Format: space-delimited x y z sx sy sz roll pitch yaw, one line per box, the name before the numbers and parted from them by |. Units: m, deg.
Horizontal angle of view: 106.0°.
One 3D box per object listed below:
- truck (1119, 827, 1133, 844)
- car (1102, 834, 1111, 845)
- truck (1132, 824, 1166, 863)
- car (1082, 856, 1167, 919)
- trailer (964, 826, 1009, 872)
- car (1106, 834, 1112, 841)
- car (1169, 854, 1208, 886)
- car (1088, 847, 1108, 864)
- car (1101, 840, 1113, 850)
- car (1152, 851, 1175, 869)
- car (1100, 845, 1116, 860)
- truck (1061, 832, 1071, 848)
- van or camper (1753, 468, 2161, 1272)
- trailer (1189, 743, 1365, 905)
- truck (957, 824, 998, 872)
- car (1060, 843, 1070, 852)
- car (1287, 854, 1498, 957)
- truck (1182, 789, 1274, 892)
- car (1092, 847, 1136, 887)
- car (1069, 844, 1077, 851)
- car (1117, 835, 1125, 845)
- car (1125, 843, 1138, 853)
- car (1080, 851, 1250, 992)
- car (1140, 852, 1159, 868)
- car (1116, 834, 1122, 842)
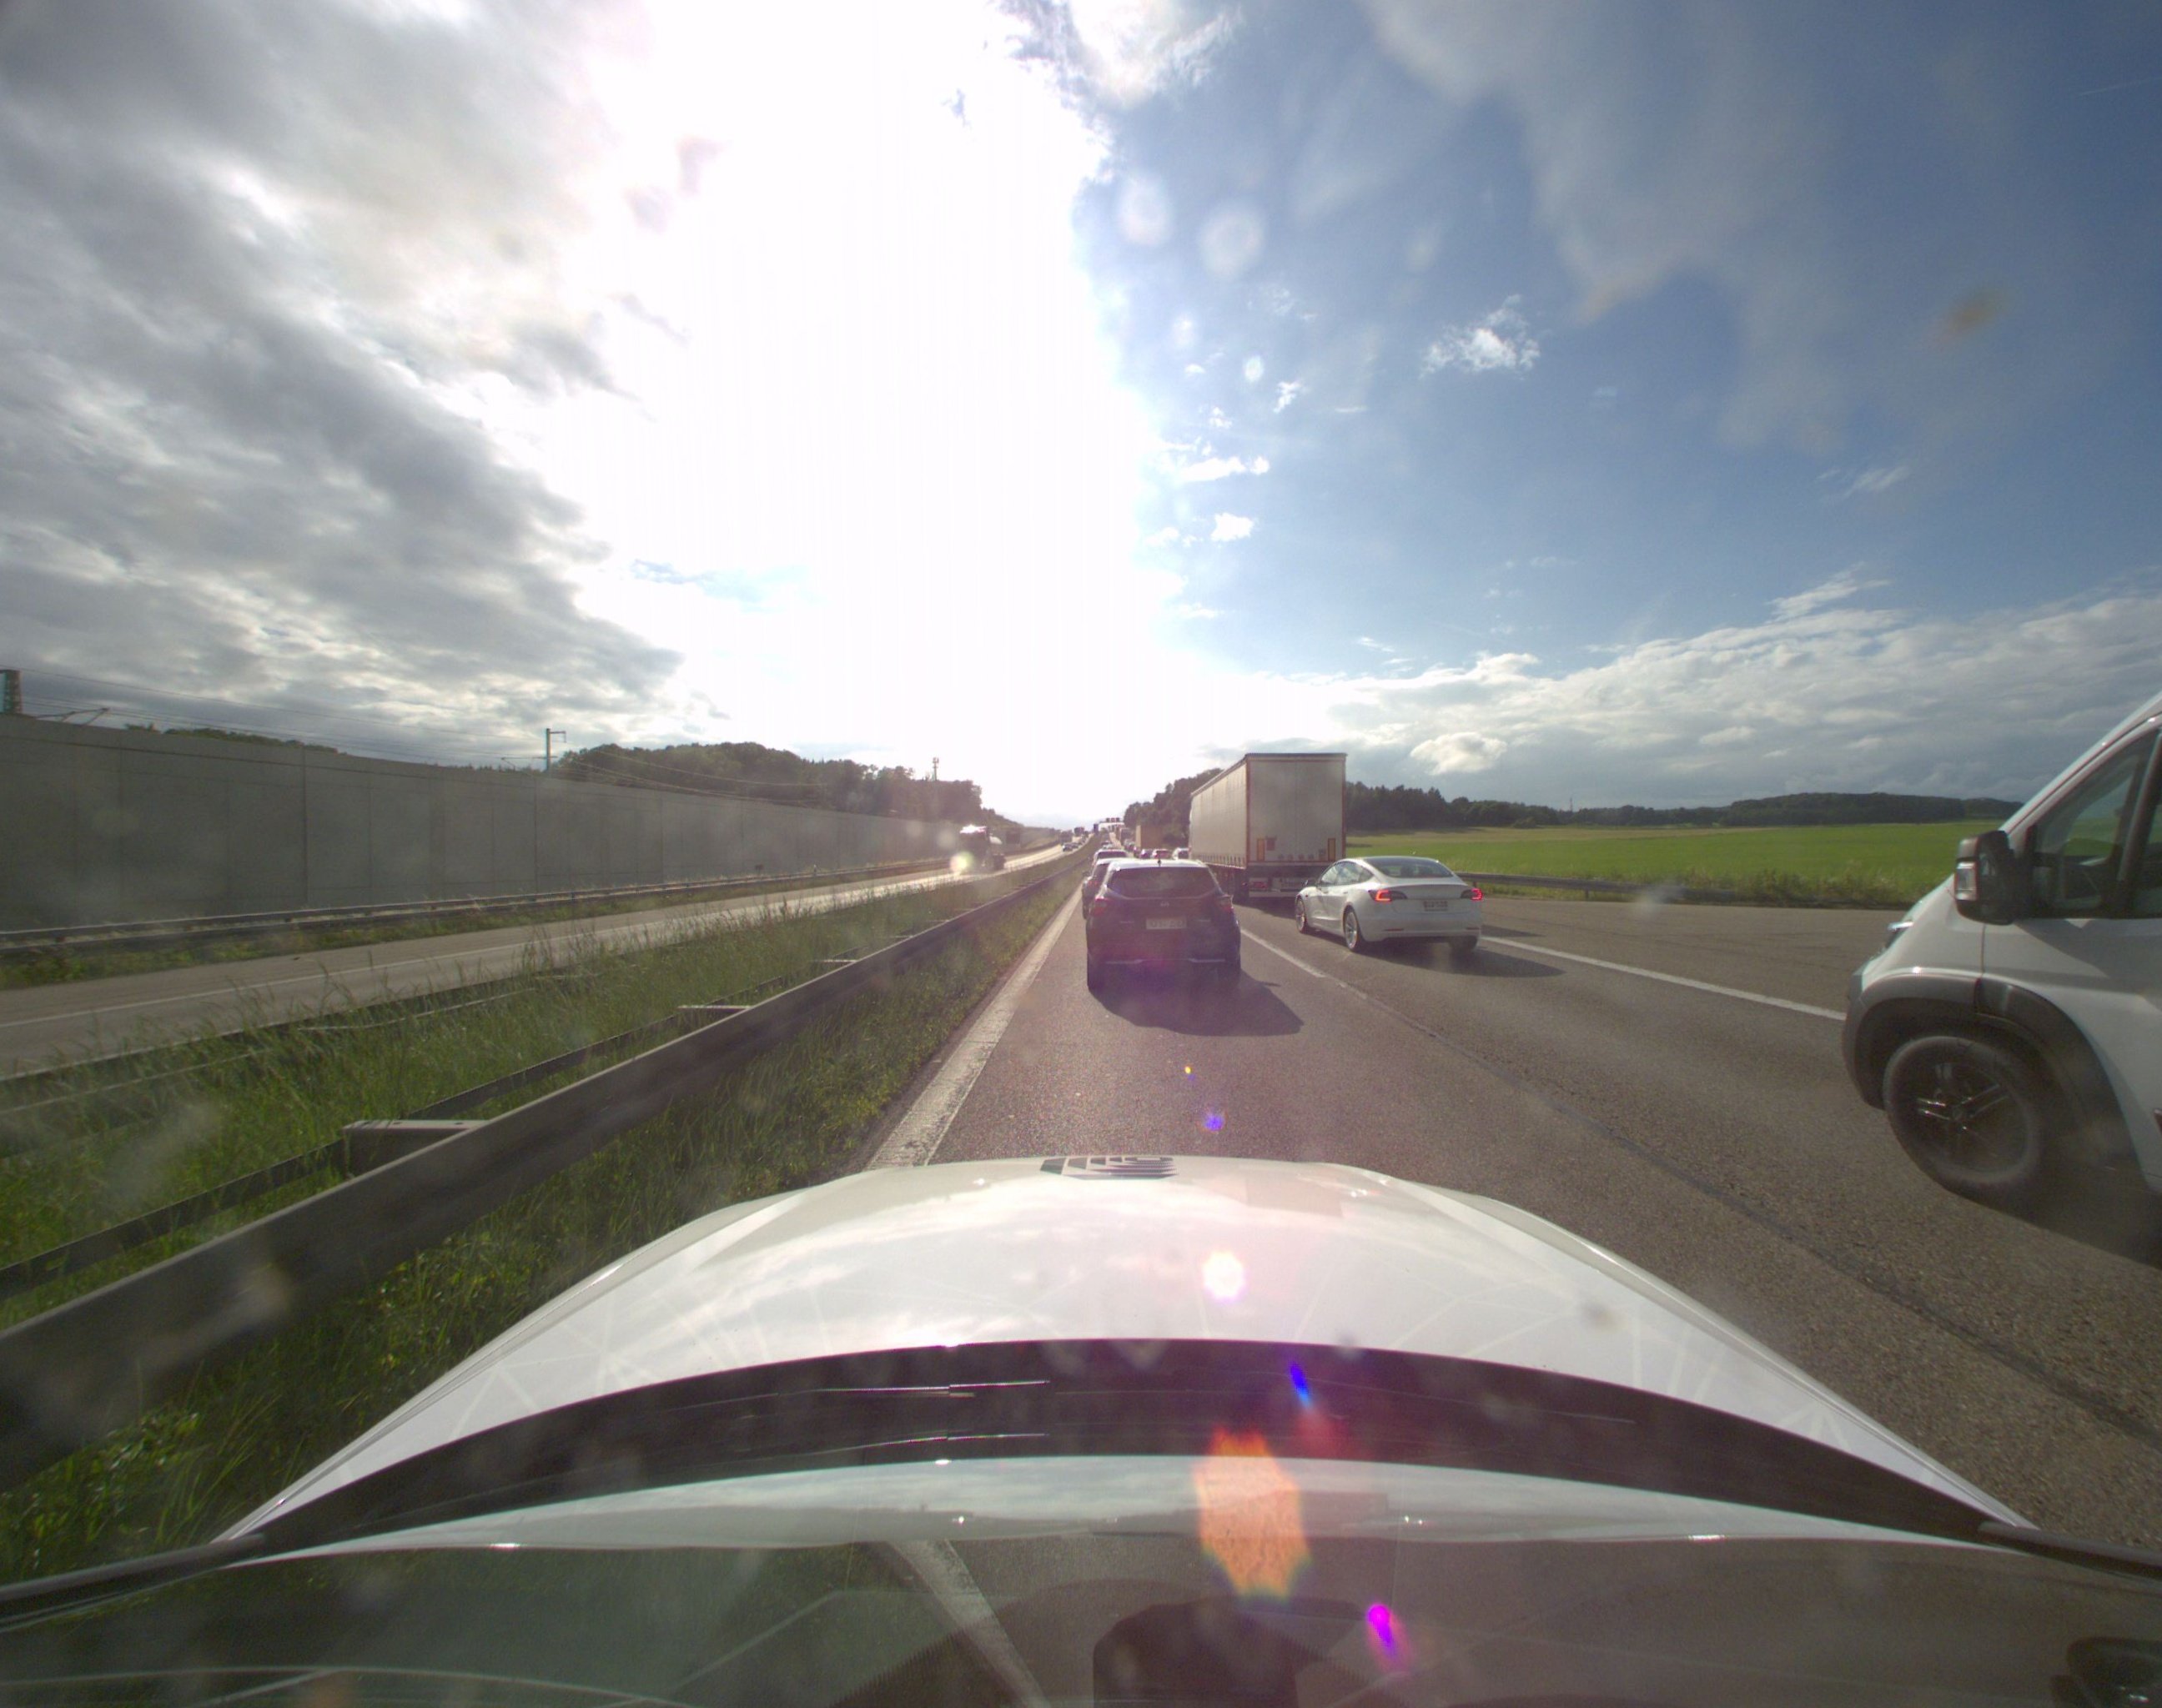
truck | 12.427 -4.975 225.765 3.452 4.576 12.442 0 1 1
car | 5.727 -3.338 184.362 1.866 2.158 5.214 -1 3 2
truck | 8.249 -1.169 100.783 3.286 4.577 12.440 0 -1 1
car | 1.037 0.757 20.273 1.866 1.358 4.234 -1 0 2
trailer | -8.812 -0.438 77.053 2.579 3.902 10.867 -2 0 1
car | 8.635 -5.164 251.930 1.866 2.158 5.214 -1 3 2
car | 5.820 0.854 44.487 1.690 1.610 4.440 -1 0 3
car | 1.746 0.128 80.515 1.866 1.644 4.234 -1 1 2
car | 4.473 -1.545 140.411 1.867 1.644 4.233 -1 1 1
car | 7.815 0.595 77.815 1.866 1.644 4.234 -1 0 2
car | 3.352 -0.181 99.853 1.866 1.644 4.235 -1 1 2
truck | -4.050 -3.795 218.601 2.371 4.181 5.934 -2 0 2
van or camper | 4.669 0.032 1.189 2.207 2.681 6.334 -1 0 1
trailer | 5.776 -0.626 27.043 3.118 4.011 13.373 -1 -1 2
truck | -8.956 -0.488 71.217 2.573 3.923 5.724 -2 0 2
car | -3.178 -1.376 163.677 1.774 1.737 4.104 -1 0 2
car | 4.871 0.711 13.475 1.783 1.394 4.436 -1 0 0
truck | 6.088 -0.504 34.576 3.121 4.016 5.166 -1 -1 2
car | 1.486 0.560 36.989 1.866 1.644 4.234 -1 0 2
car | -1.858 -1.584 186.734 1.691 1.499 4.428 -1 0 1
car | 9.914 -3.466 200.203 1.866 2.158 5.214 -1 3 2
car | 8.916 -1.047 143.015 1.868 1.644 4.230 -1 1 -1
car | 0.968 0.729 10.766 1.766 1.451 4.234 -1 0 2
car | 7.302 0.642 87.229 1.866 1.644 4.234 -1 0 2
car | 11.925 -5.044 255.310 1.866 2.158 5.214 -1 3 2
